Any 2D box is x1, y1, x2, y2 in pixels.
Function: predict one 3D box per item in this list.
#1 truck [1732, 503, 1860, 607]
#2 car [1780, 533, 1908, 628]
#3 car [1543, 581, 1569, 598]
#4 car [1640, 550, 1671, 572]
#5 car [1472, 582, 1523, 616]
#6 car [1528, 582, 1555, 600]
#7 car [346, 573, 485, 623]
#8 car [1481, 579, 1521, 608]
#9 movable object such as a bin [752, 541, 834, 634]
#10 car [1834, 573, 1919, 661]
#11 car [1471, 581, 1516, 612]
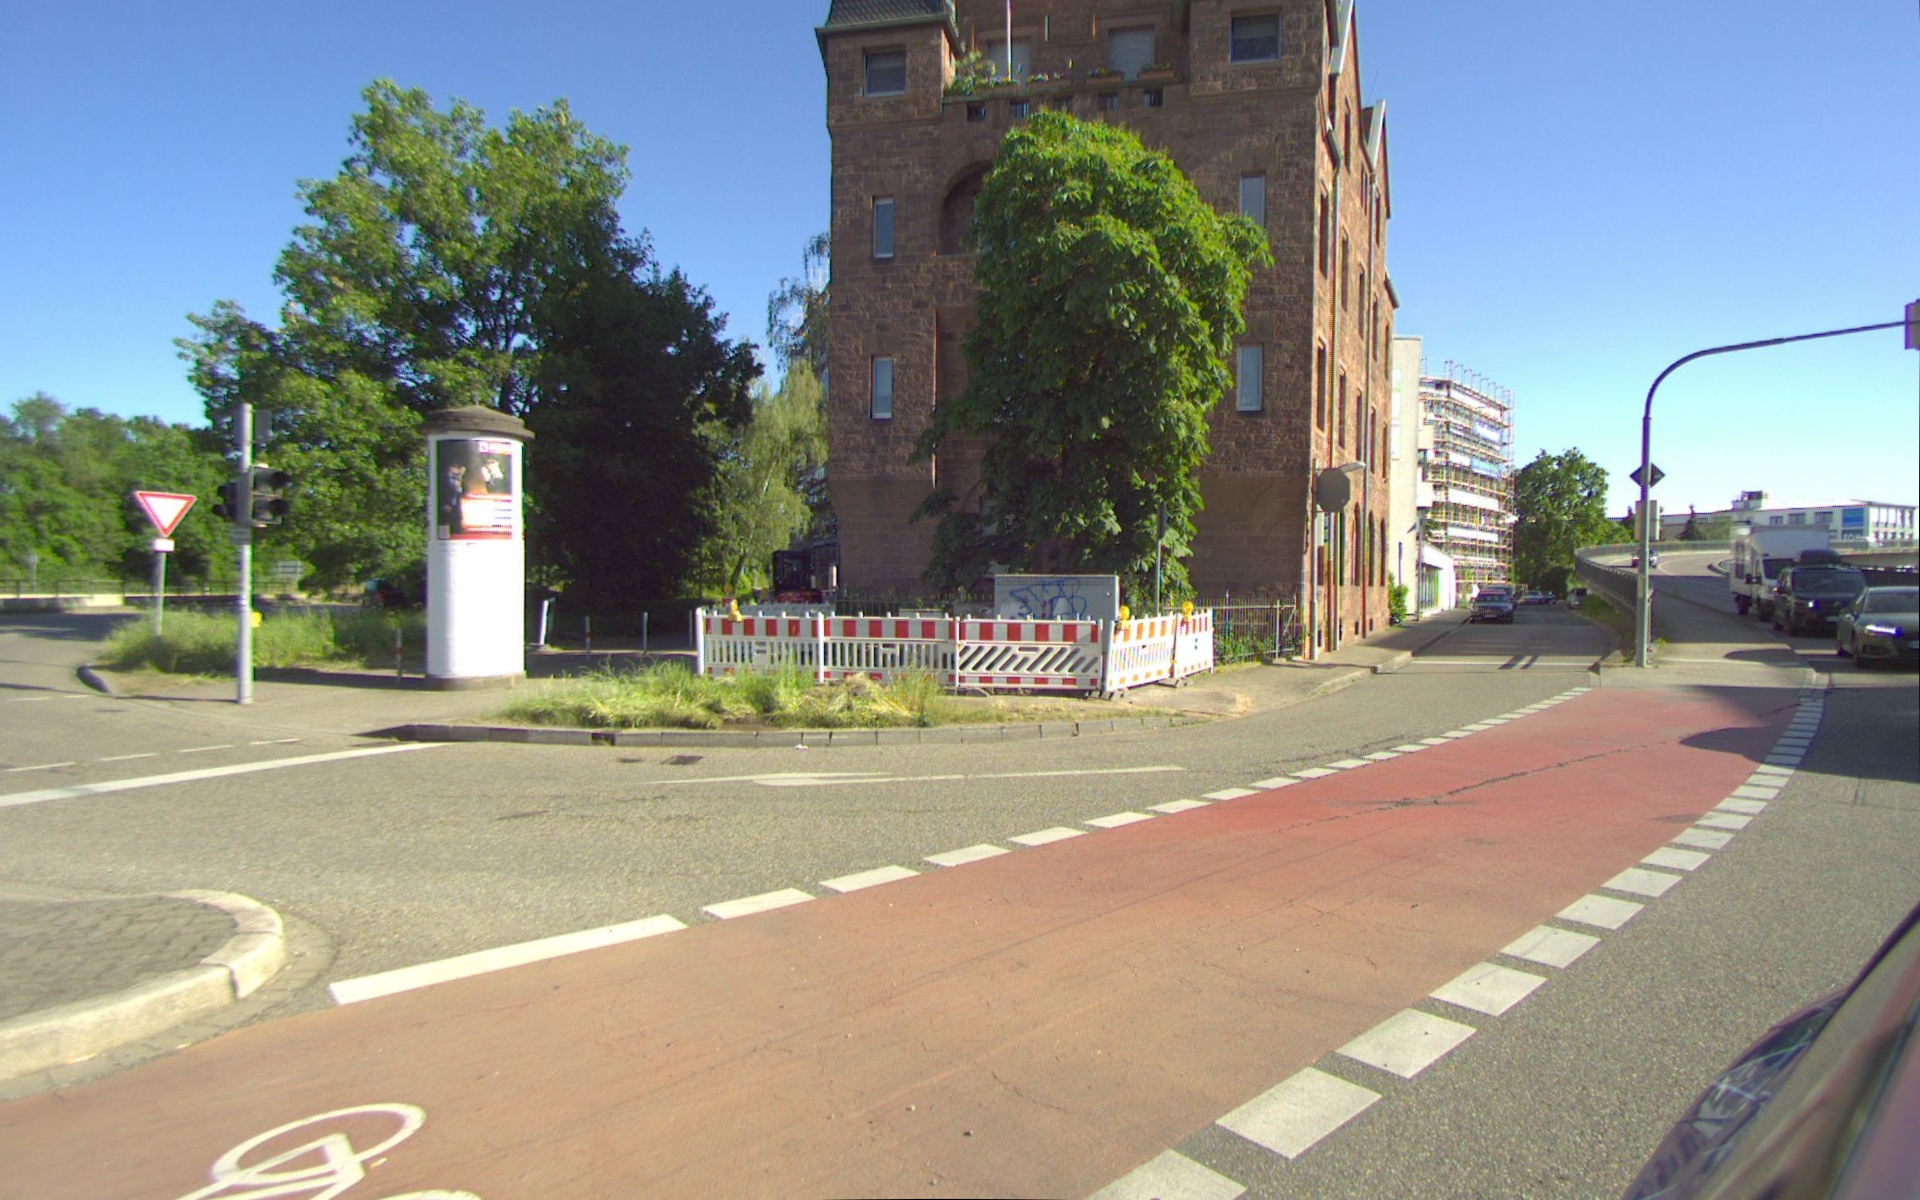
[{"bbox_3d":[28.388,-1.438,34.634,2.486,3.167,6.879,1,1,32],"label":"truck"},{"bbox_3d":[23.255,-0.512,26.800,1.938,2.290,4.727,1,1,34],"label":"car"},{"bbox_3d":[64.019,-1.119,108.731,1.749,1.781,4.118,1,1,39],"label":"car"},{"bbox_3d":[60.505,-3.402,88.013,1.749,1.781,4.717,1,1,39],"label":"car"},{"bbox_3d":[25.412,-0.071,47.807,2.036,1.551,4.051,1,1,29],"label":"car"},{"bbox_3d":[59.948,-0.928,104.277,1.749,1.781,4.143,1,1,39],"label":"car"},{"bbox_3d":[-18.528,-0.077,34.537,1.991,1.581,3.727,2,1,40],"label":"car"},{"bbox_3d":[32.435,-0.396,60.687,2.035,1.707,4.052,1,1,28],"label":"car"},{"bbox_3d":[-4.645,-0.361,28.631,1.960,2.439,4.004,1,1,-5],"label":"movable object such as a bin"},{"bbox_3d":[17.793,0.261,18.751,1.868,1.489,4.579,1,2,34],"label":"car"},{"bbox_3d":[28.521,-0.213,54.072,2.035,1.551,4.052,1,1,28],"label":"car"}]
